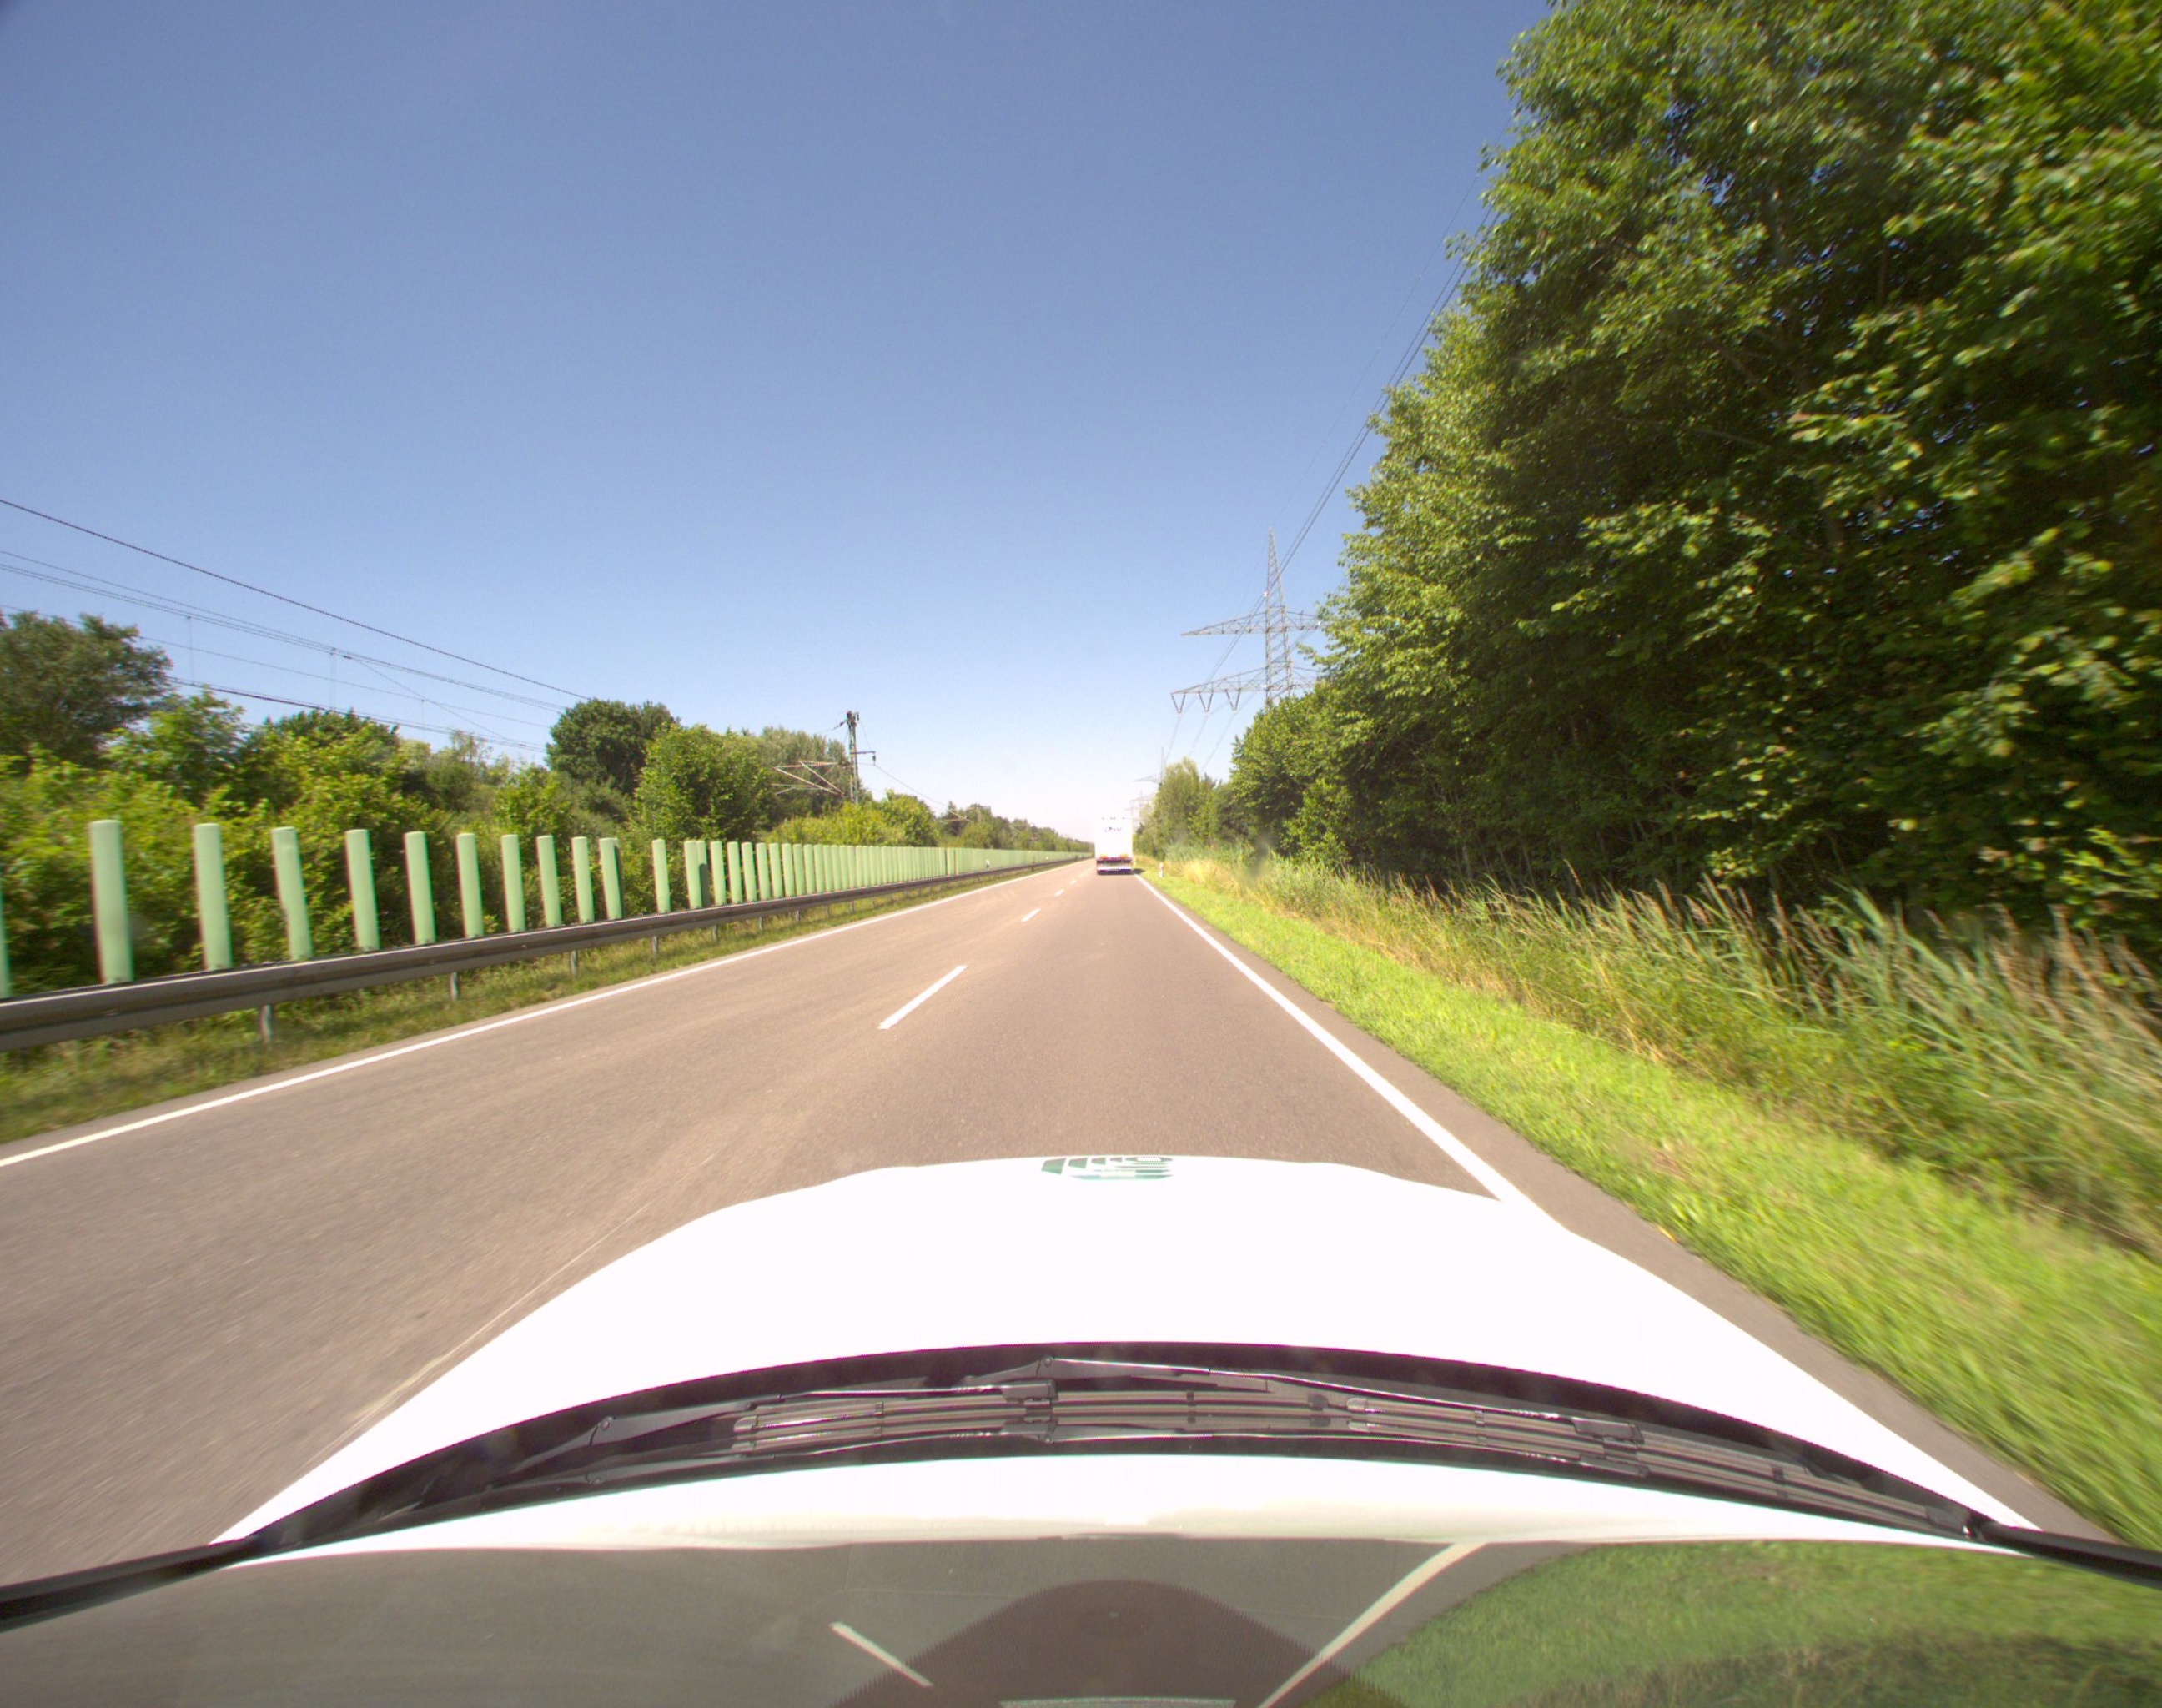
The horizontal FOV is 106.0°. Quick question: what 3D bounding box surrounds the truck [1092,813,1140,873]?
[{"bbox_3d":[2.584,-0.780,61.825,3.180,4.042,12.011,-2,0,2],"label":"truck"}]
